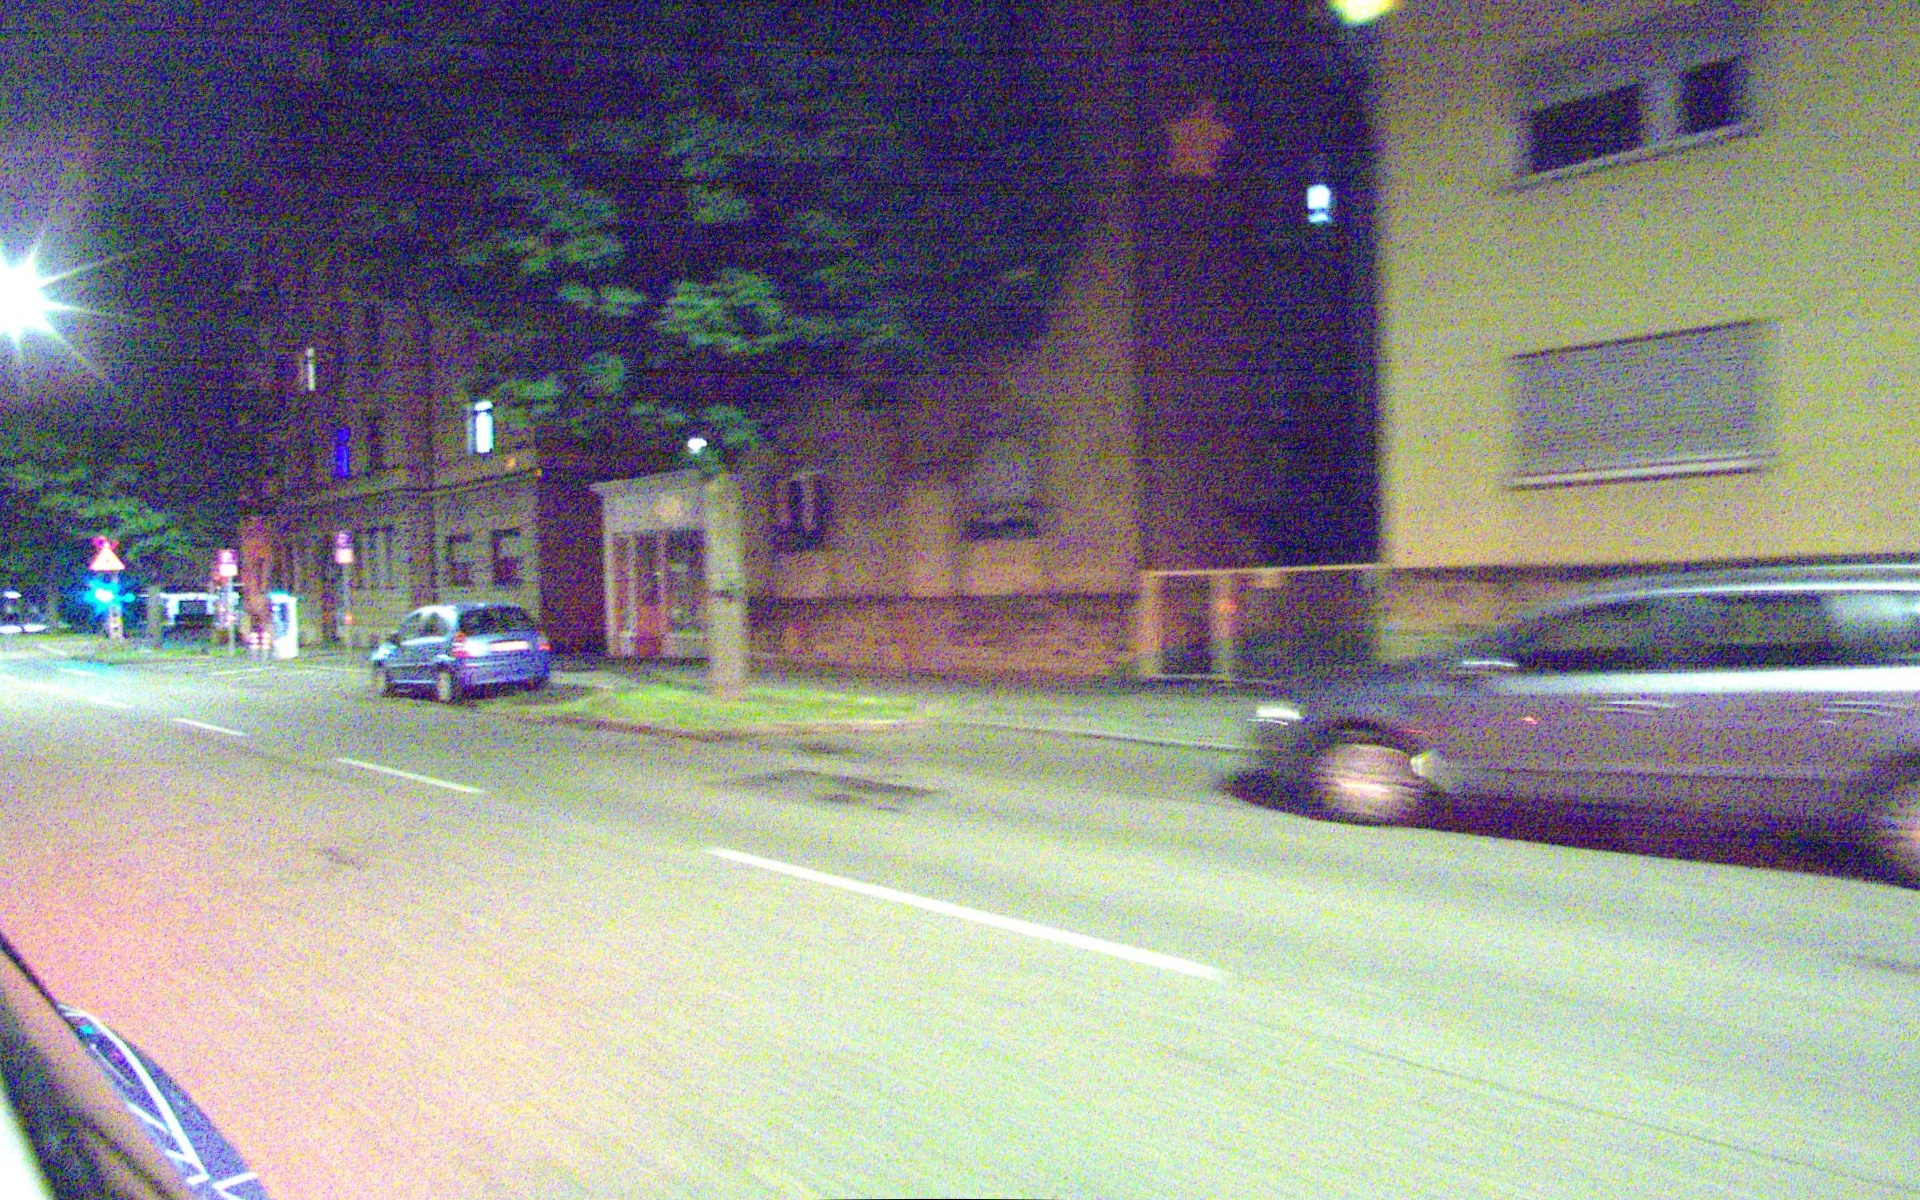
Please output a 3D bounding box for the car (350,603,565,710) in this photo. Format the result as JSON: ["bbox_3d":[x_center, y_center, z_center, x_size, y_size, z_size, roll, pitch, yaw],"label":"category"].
[{"bbox_3d":[-8.339,0.862,16.647,3.987,1.505,1.697,-1,1,40],"label":"car"}]

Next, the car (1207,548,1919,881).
[{"bbox_3d":[4.042,0.525,5.909,4.762,1.497,1.751,-1,0,39],"label":"car"}]
